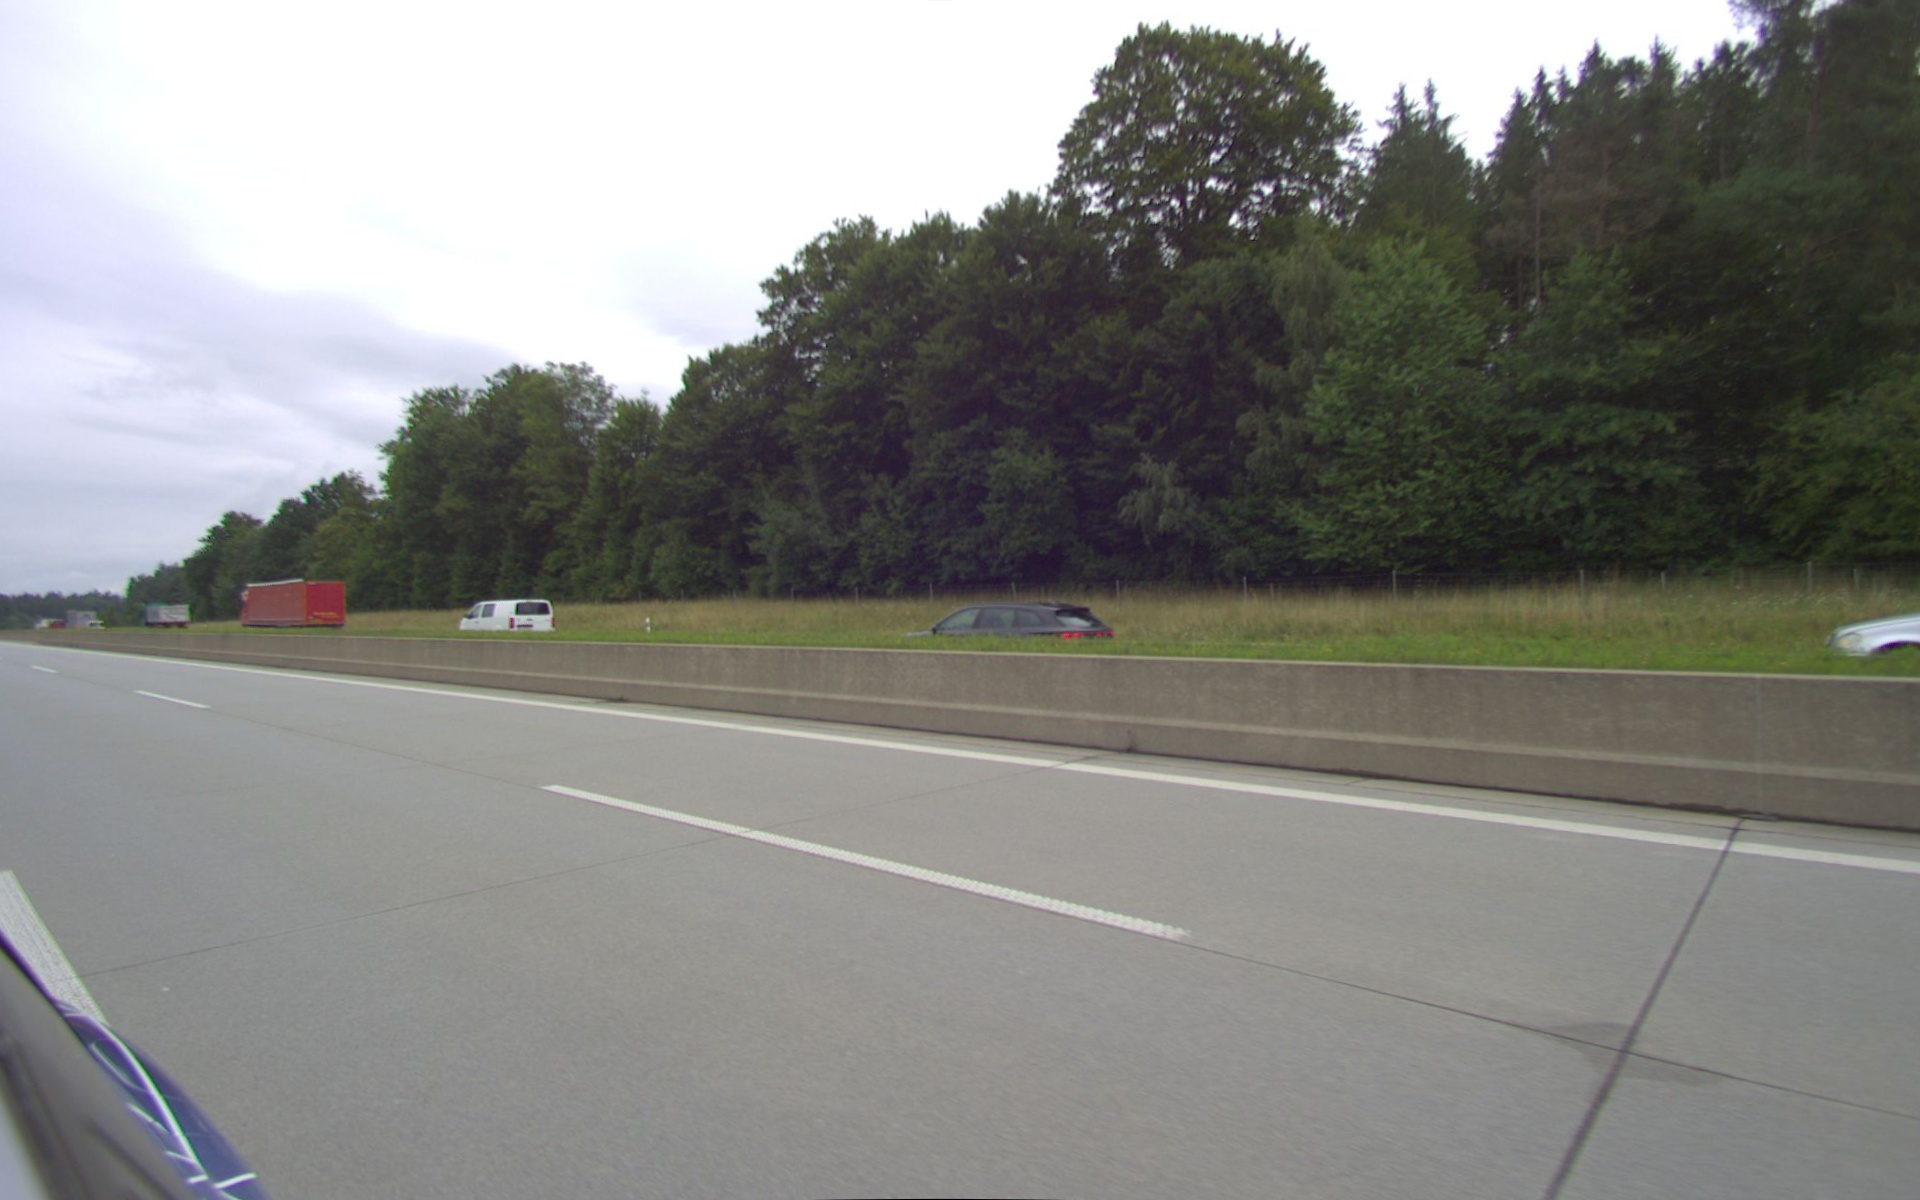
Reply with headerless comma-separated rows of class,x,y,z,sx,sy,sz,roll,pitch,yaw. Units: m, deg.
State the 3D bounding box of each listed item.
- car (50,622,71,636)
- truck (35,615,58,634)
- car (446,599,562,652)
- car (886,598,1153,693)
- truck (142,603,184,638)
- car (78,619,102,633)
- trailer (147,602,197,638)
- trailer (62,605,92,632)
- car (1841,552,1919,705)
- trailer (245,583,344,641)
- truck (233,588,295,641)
car,-130.420,4.230,146.733,5.316,1.896,1.971,-1,0,45
truck,-140.118,3.717,155.148,6.514,2.809,2.242,-1,-1,44
car,-18.235,1.025,40.325,5.622,1.970,1.973,-2,-1,40
car,0.965,0.748,18.107,4.489,1.477,1.973,-1,0,41
truck,-88.791,2.335,112.738,5.660,3.768,2.750,-2,-1,43
car,-104.329,3.117,121.315,4.561,1.611,1.761,-2,-1,43
trailer,-85.343,2.213,109.521,9.011,3.728,2.774,-2,-1,43
trailer,-143.953,3.024,164.887,13.978,4.134,2.470,-1,-1,44
car,13.226,0.289,11.802,4.389,1.814,1.973,-2,-1,41
trailer,-49.156,0.979,74.446,14.376,3.974,2.580,-2,-1,42
truck,-54.813,1.170,79.611,6.946,3.957,2.525,-2,-1,43
